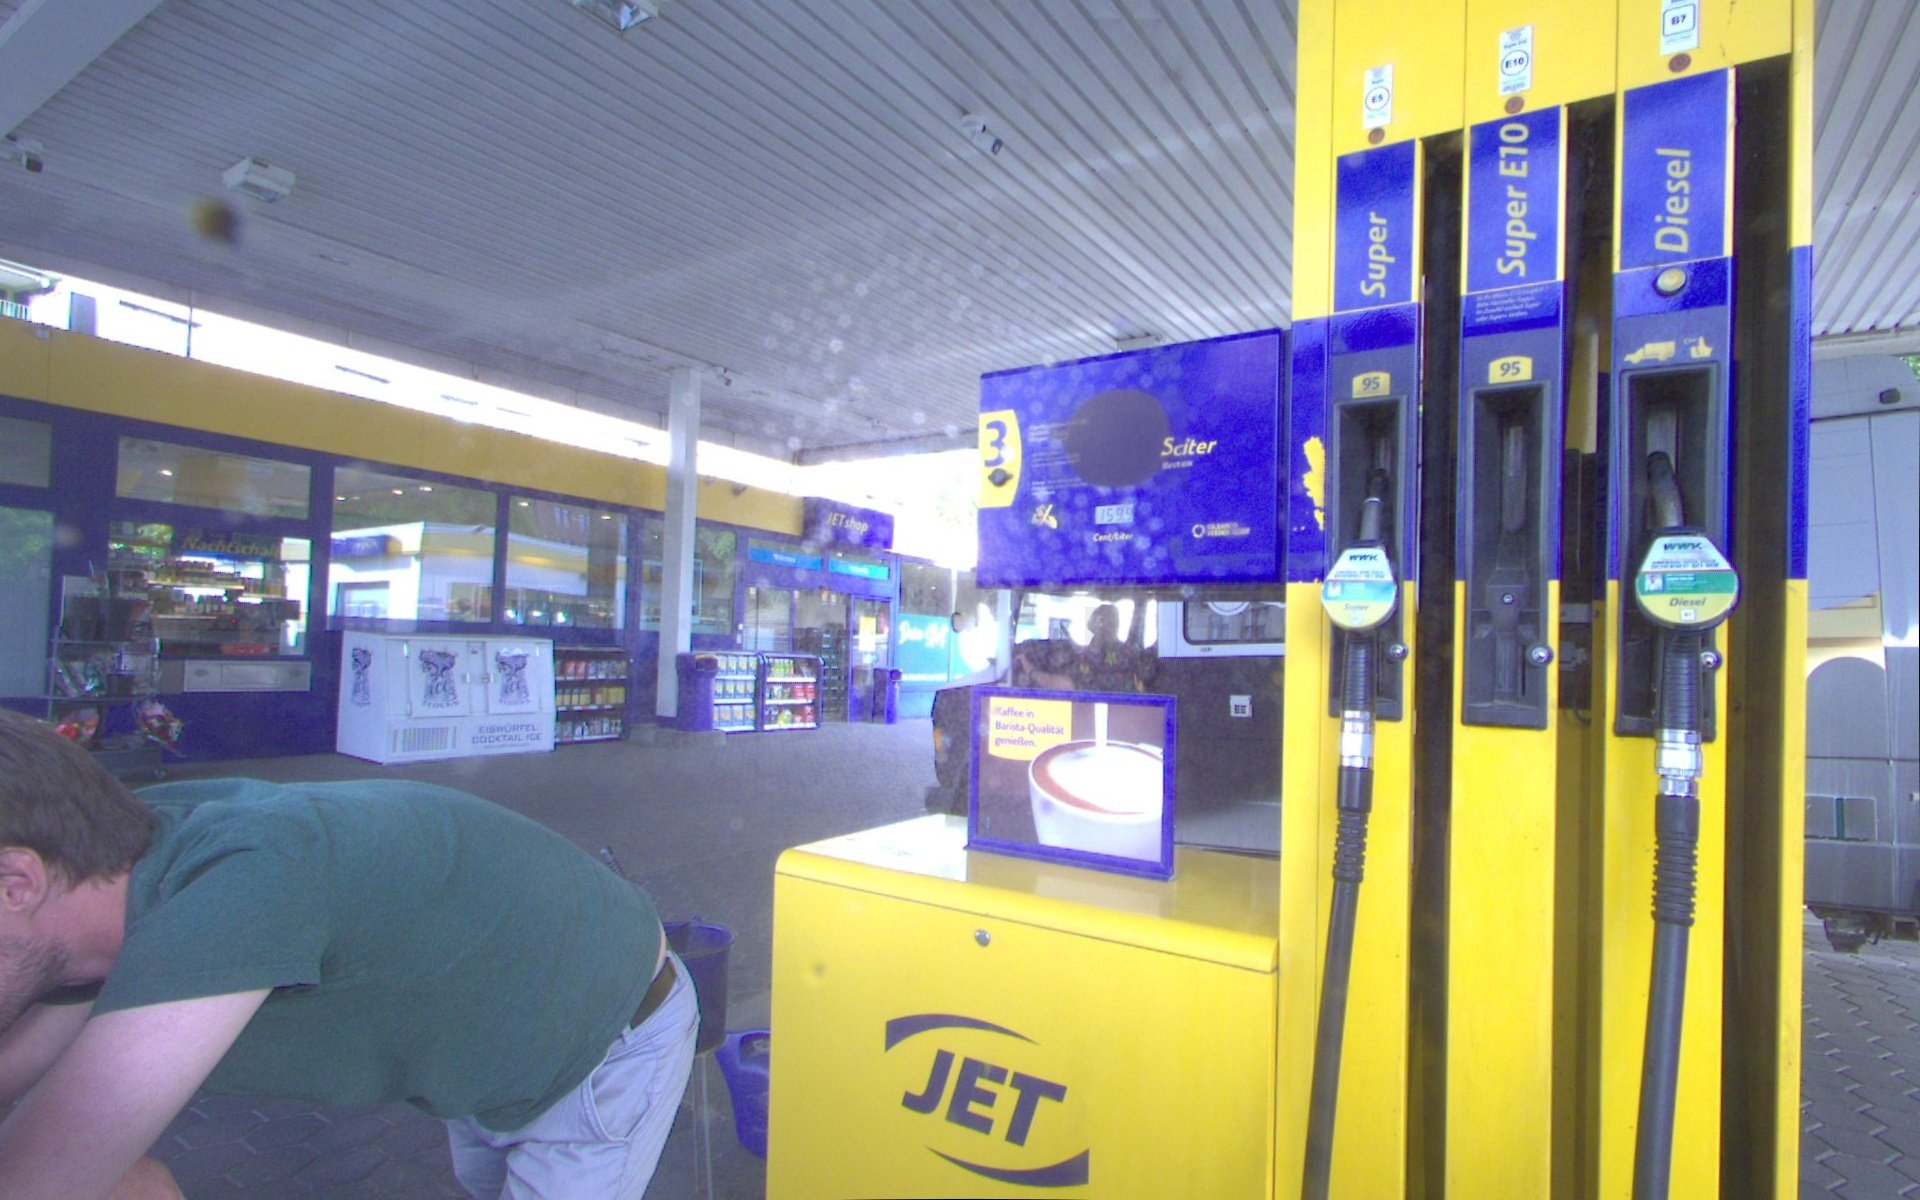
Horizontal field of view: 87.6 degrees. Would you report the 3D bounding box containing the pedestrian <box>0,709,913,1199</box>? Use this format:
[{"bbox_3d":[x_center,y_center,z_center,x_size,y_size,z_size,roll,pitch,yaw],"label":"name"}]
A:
[{"bbox_3d":[-0.531,0.803,1.073,0.664,1.298,0.749,-1,-1,31],"label":"pedestrian"}]

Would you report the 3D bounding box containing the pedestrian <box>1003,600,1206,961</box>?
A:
[{"bbox_3d":[0.735,0.908,5.448,0.961,1.785,0.981,0,-1,0],"label":"pedestrian"}]

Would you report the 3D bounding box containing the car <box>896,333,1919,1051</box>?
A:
[{"bbox_3d":[2.392,0.407,6.018,5.219,2.724,2.250,0,-3,34],"label":"car"}]
